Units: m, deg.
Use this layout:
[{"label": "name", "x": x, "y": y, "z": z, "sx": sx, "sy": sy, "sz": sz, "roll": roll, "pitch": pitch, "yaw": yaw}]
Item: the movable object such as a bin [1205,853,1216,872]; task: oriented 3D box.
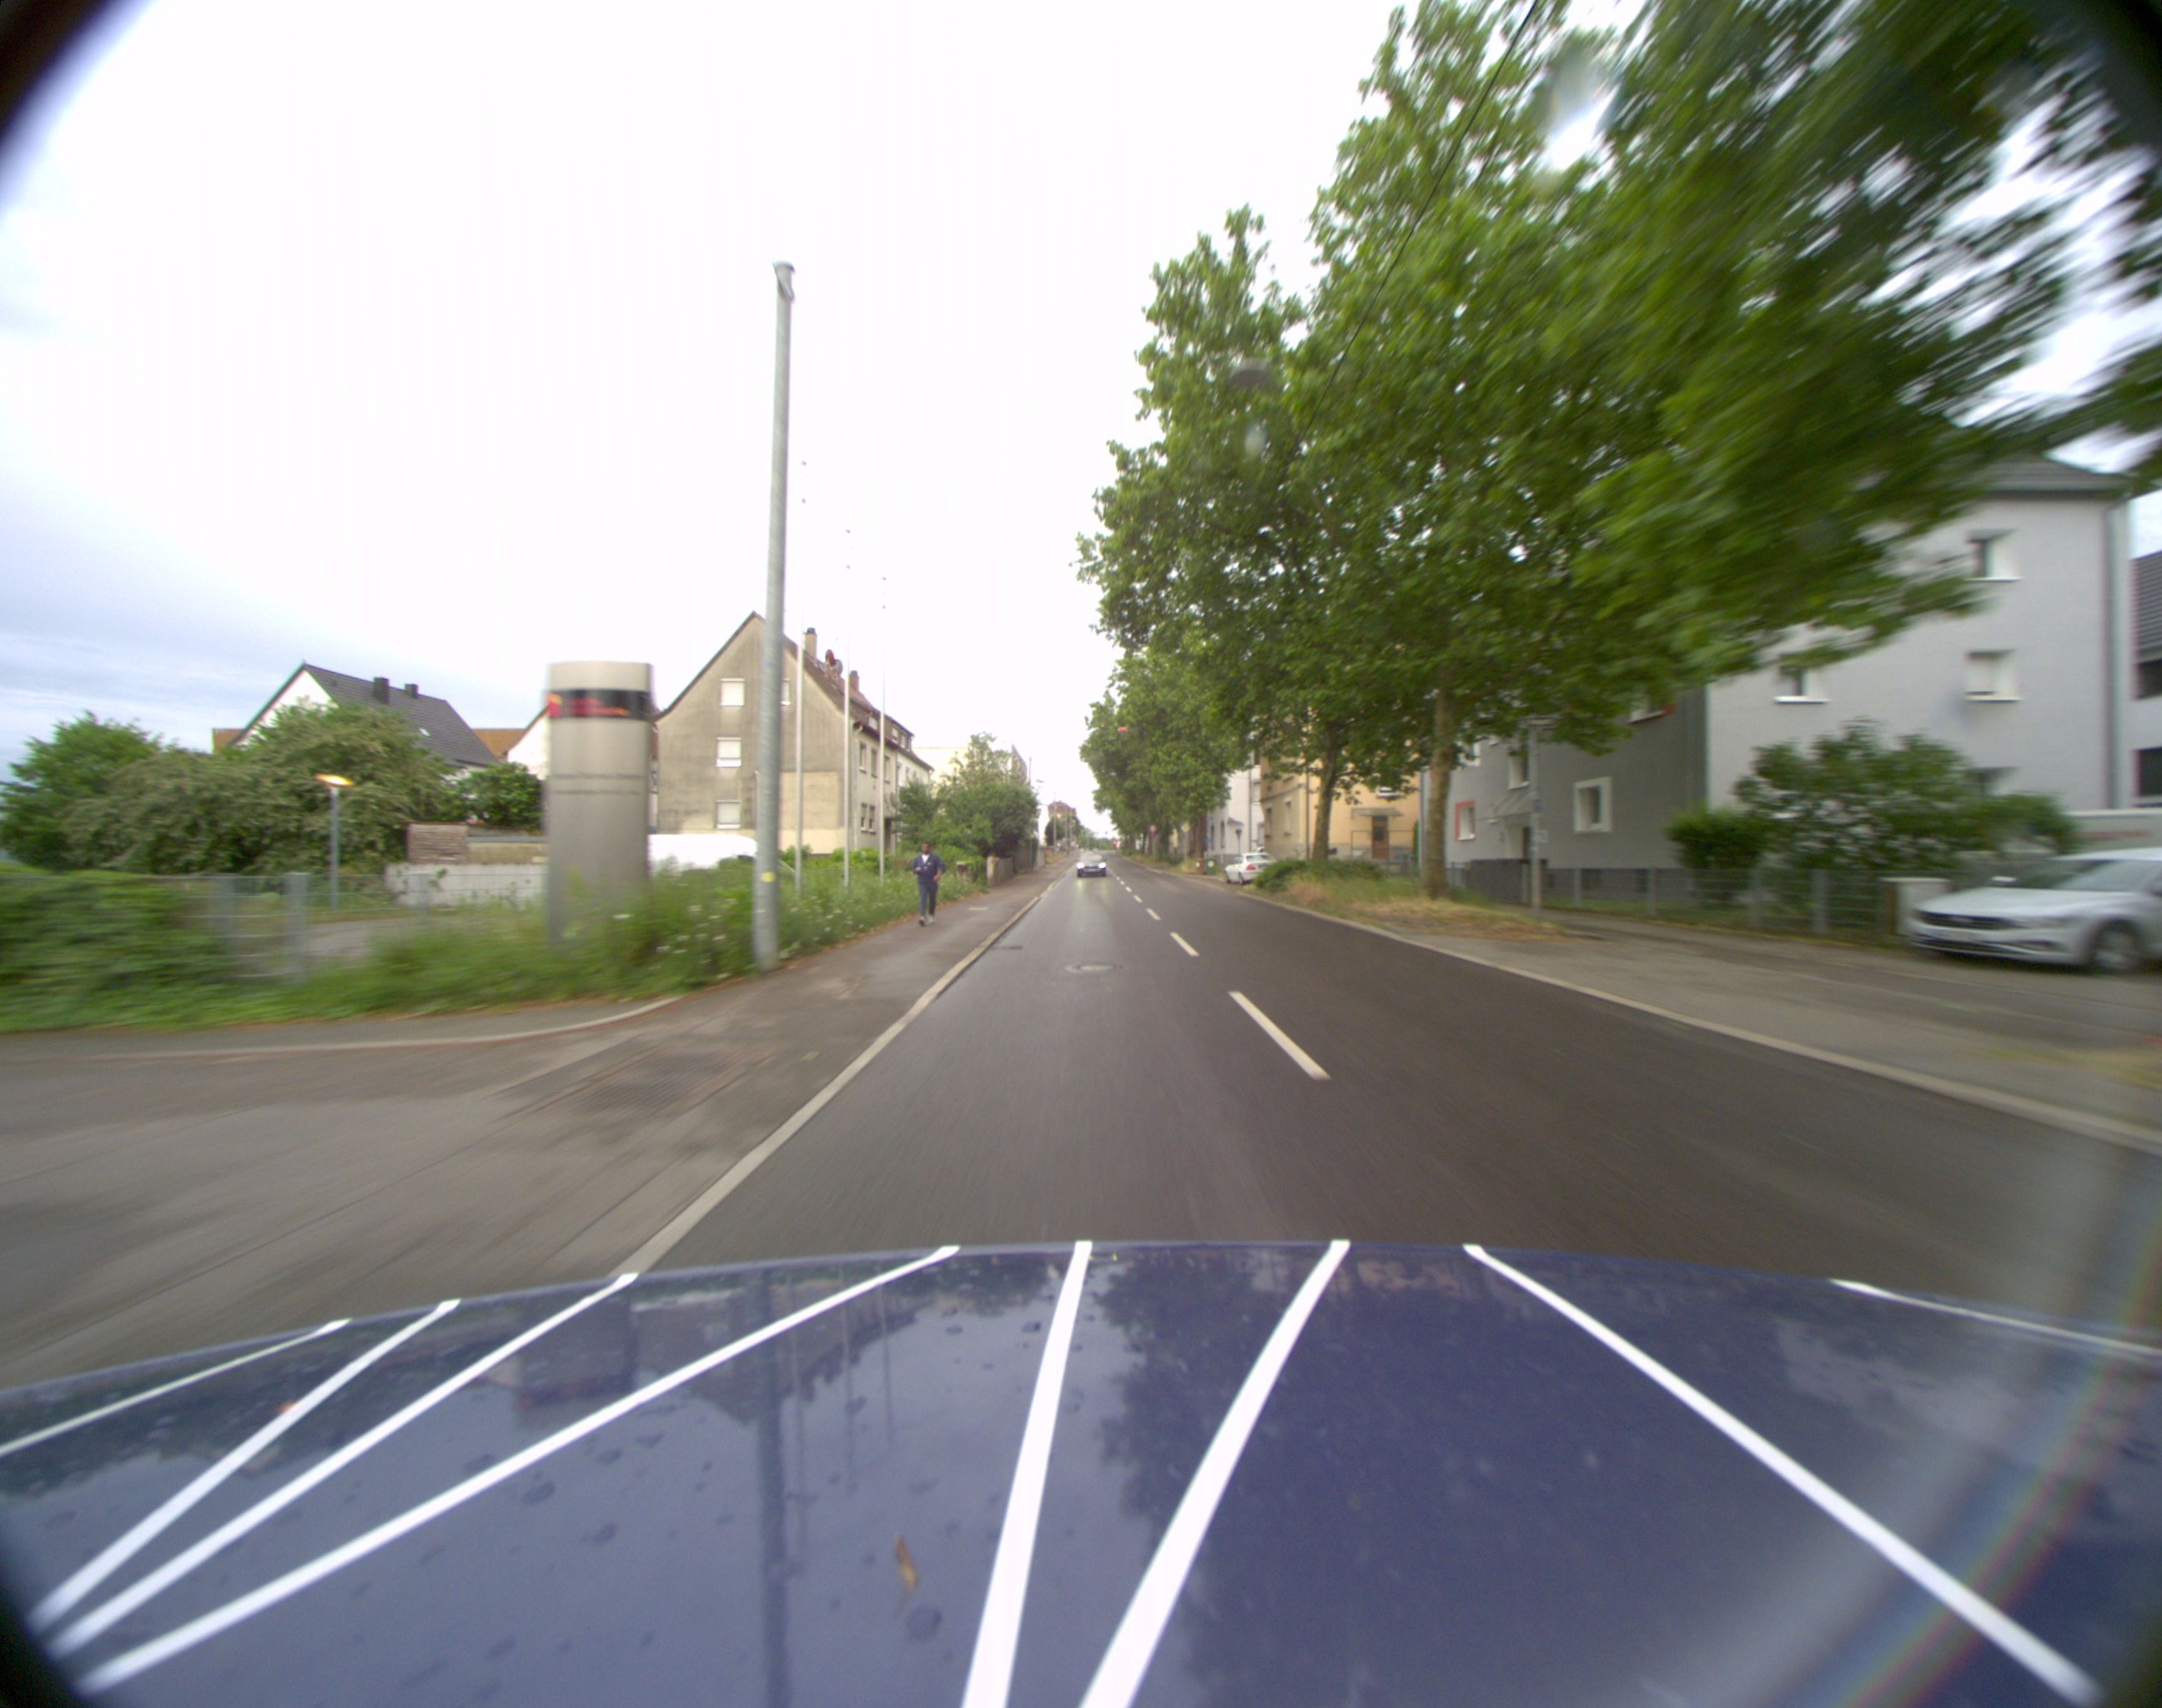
[{"label": "movable object such as a bin", "x": 7.441, "y": 0.506, "z": 43.662, "sx": 0.536, "sy": 1.051, "sz": 0.762, "roll": 1, "pitch": 2, "yaw": 1}]

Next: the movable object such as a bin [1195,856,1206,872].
[{"label": "movable object such as a bin", "x": 6.872, "y": 0.565, "z": 43.633, "sx": 0.513, "sy": 0.922, "sz": 0.581, "roll": 1, "pitch": 2, "yaw": 1}]

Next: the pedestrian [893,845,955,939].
[{"label": "pedestrian", "x": -3.245, "y": 0.772, "z": 15.797, "sx": 1.045, "sy": 1.886, "sz": 0.900, "roll": 0, "pitch": 2, "yaw": 1}]

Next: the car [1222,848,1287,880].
[{"label": "car", "x": 7.844, "y": 0.409, "z": 34.738, "sx": 1.760, "sy": 1.318, "sz": 4.537, "roll": -1, "pitch": 1, "yaw": -2}]

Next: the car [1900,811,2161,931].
[{"label": "car", "x": 18.548, "y": 0.198, "z": 14.188, "sx": 1.888, "sy": 1.909, "sz": 4.553, "roll": -2, "pitch": 1, "yaw": 6}]

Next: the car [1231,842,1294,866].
[{"label": "car", "x": 14.801, "y": 0.002, "z": 62.150, "sx": 4.682, "sy": 1.768, "sz": 2.020, "roll": -2, "pitch": 1, "yaw": 0}]

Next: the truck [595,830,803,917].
[{"label": "truck", "x": -12.781, "y": 0.616, "z": 25.698, "sx": 5.859, "sy": 2.623, "sz": 2.043, "roll": -2, "pitch": 2, "yaw": 0}]

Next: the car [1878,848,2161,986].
[{"label": "car", "x": 13.731, "y": 0.735, "z": 9.914, "sx": 4.674, "sy": 1.468, "sz": 1.869, "roll": -2, "pitch": 2, "yaw": 1}]

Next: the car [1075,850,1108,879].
[{"label": "car", "x": 0.618, "y": 0.597, "z": 47.701, "sx": 1.949, "sy": 1.644, "sz": 3.858, "roll": -1, "pitch": 1, "yaw": 0}]
